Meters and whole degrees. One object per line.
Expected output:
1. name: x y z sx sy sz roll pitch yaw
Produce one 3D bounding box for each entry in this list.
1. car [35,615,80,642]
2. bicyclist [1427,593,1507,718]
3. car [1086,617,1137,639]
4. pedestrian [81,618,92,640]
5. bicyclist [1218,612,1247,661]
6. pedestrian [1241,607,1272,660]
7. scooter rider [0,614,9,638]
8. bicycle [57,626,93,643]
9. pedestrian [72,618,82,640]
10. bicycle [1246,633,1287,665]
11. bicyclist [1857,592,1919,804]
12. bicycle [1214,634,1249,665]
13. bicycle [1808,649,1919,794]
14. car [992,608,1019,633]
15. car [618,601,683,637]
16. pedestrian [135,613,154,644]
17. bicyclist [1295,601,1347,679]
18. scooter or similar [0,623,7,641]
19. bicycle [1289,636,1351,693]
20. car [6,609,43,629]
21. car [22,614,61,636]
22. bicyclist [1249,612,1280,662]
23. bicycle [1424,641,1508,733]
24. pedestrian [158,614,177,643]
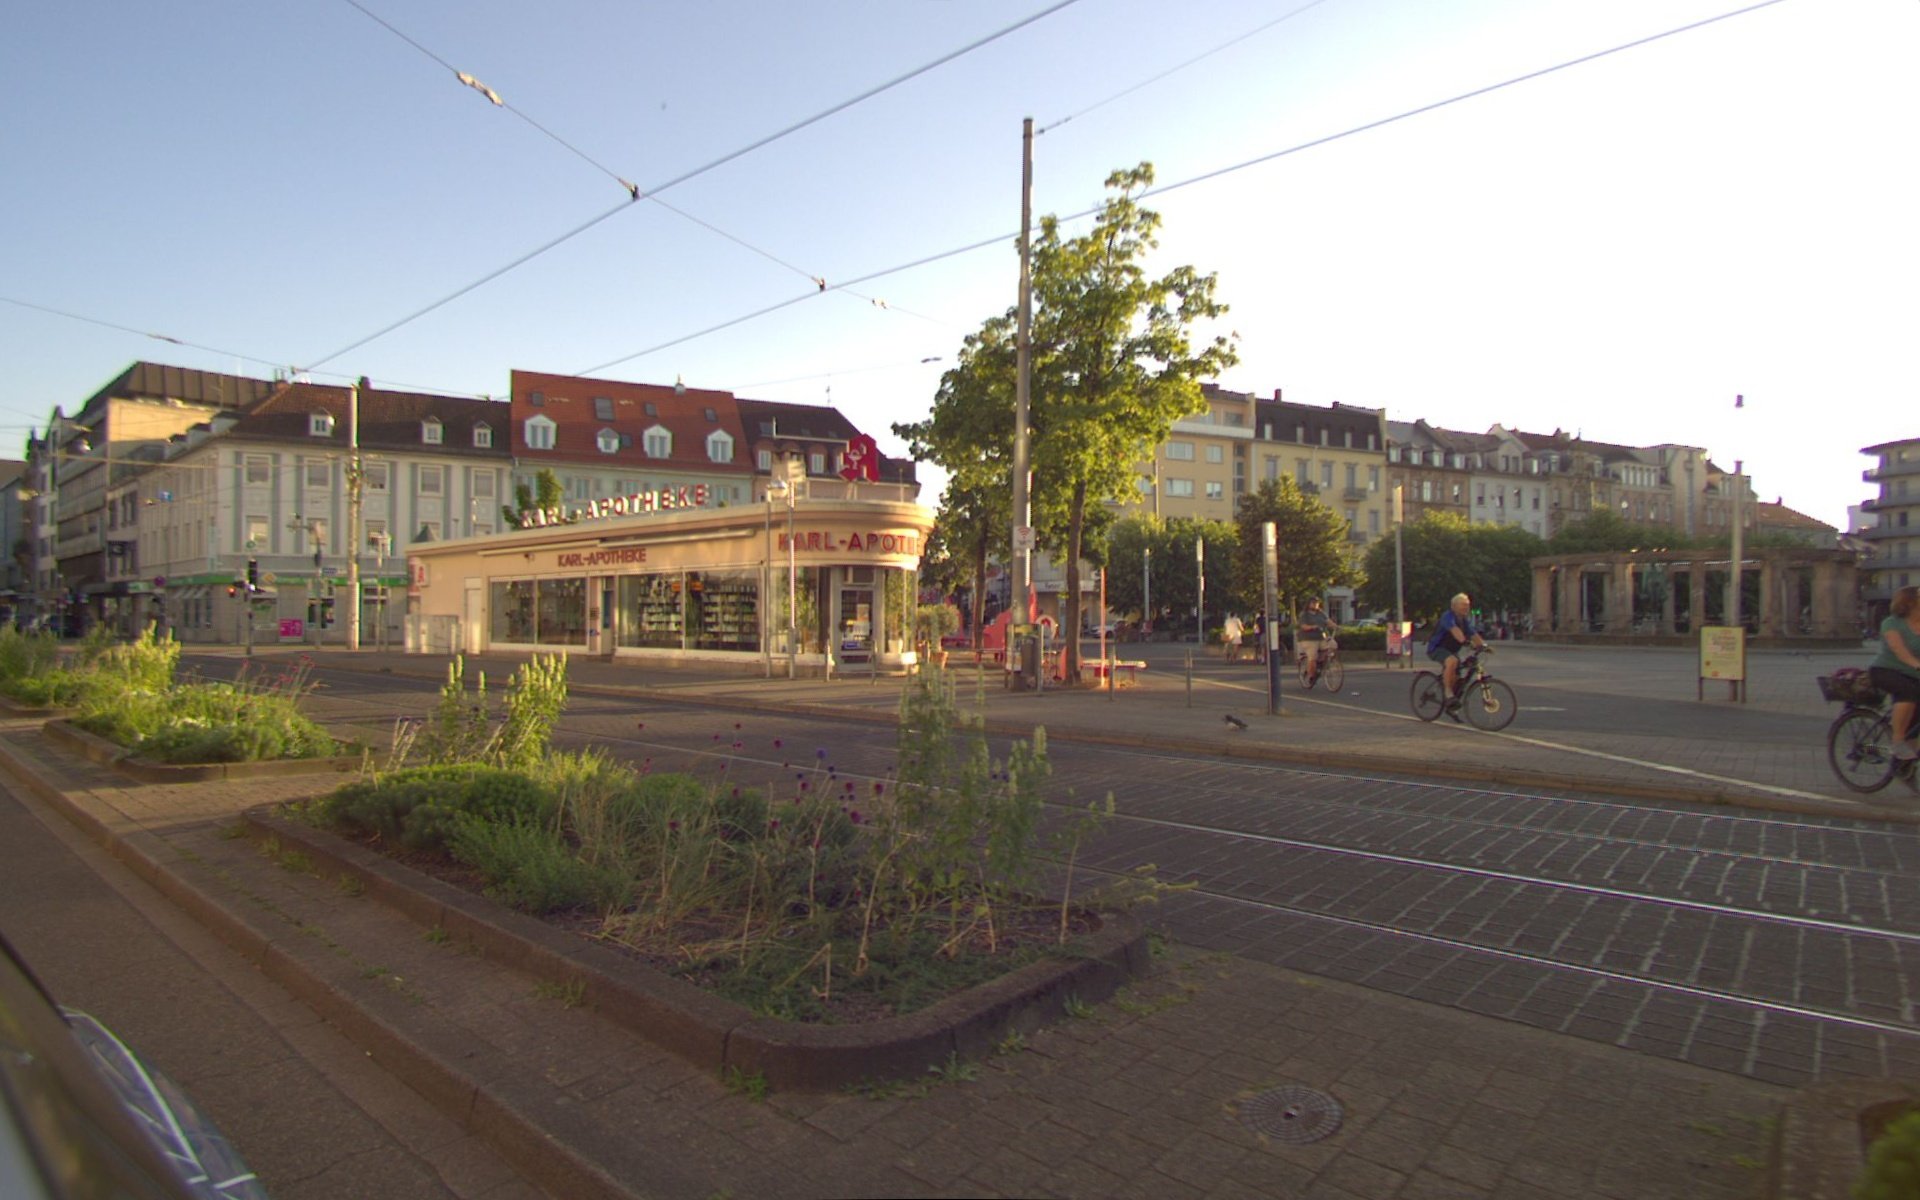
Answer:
1. car: -64.747 2.017 72.587 4.127 1.809 1.890 0 0 40
2. bicyclist: 6.894 0.732 13.799 0.731 1.623 0.800 1 0 10
3. car: 10.934 2.014 73.049 3.294 1.479 1.555 2 -1 -26
4. pedestrian: -68.946 2.267 79.898 0.600 1.747 0.509 1 -1 41
5. bicyclist: 8.652 1.157 32.138 0.677 1.531 0.648 -1 -1 41
6. pedestrian: 9.645 1.095 32.950 0.666 1.688 0.659 2 0 -34
7. scooter rider: -71.907 1.945 75.838 0.787 1.821 0.803 -2 -2 40
8. bicycle: -55.765 2.168 63.784 1.715 1.067 0.499 1 -3 -41
9. pedestrian: -69.281 2.305 79.433 0.583 1.697 0.503 1 0 40
10. bicycle: 9.519 1.521 31.437 0.418 0.922 1.432 2 0 -20
11. bicyclist: 7.912 0.785 8.198 0.619 1.681 0.704 2 0 0
12. bicycle: 8.593 1.559 32.000 0.425 0.922 1.509 1 0 40
13. bicycle: 7.903 0.999 8.176 0.454 1.120 1.936 2 -1 0
14. car: 3.868 1.729 87.452 1.971 2.029 4.001 2 0 -2
15. car: -19.006 1.161 62.057 3.998 2.029 1.973 1 0 41
16. pedestrian: -47.177 1.627 58.545 0.815 1.741 0.814 0 -1 -42
17. bicyclist: 7.494 0.821 21.020 0.742 1.588 0.704 2 0 -7
18. scooter or similar: -71.901 2.398 75.822 1.669 1.361 0.538 -1 -1 42
19. bicycle: 7.478 1.315 21.080 0.488 1.120 1.714 1 -2 -7
20. car: -77.140 1.566 83.446 3.998 1.569 1.796 1 0 41
21. car: -69.437 1.889 76.459 3.997 1.636 1.679 -1 -1 40
22. bicyclist: 9.471 1.130 31.478 0.665 1.531 0.659 0 -1 -22
23. bicycle: 6.854 1.141 13.787 0.455 1.120 1.922 1 -1 9
24. pedestrian: -45.837 1.628 58.545 0.814 1.653 0.816 0 0 -33
